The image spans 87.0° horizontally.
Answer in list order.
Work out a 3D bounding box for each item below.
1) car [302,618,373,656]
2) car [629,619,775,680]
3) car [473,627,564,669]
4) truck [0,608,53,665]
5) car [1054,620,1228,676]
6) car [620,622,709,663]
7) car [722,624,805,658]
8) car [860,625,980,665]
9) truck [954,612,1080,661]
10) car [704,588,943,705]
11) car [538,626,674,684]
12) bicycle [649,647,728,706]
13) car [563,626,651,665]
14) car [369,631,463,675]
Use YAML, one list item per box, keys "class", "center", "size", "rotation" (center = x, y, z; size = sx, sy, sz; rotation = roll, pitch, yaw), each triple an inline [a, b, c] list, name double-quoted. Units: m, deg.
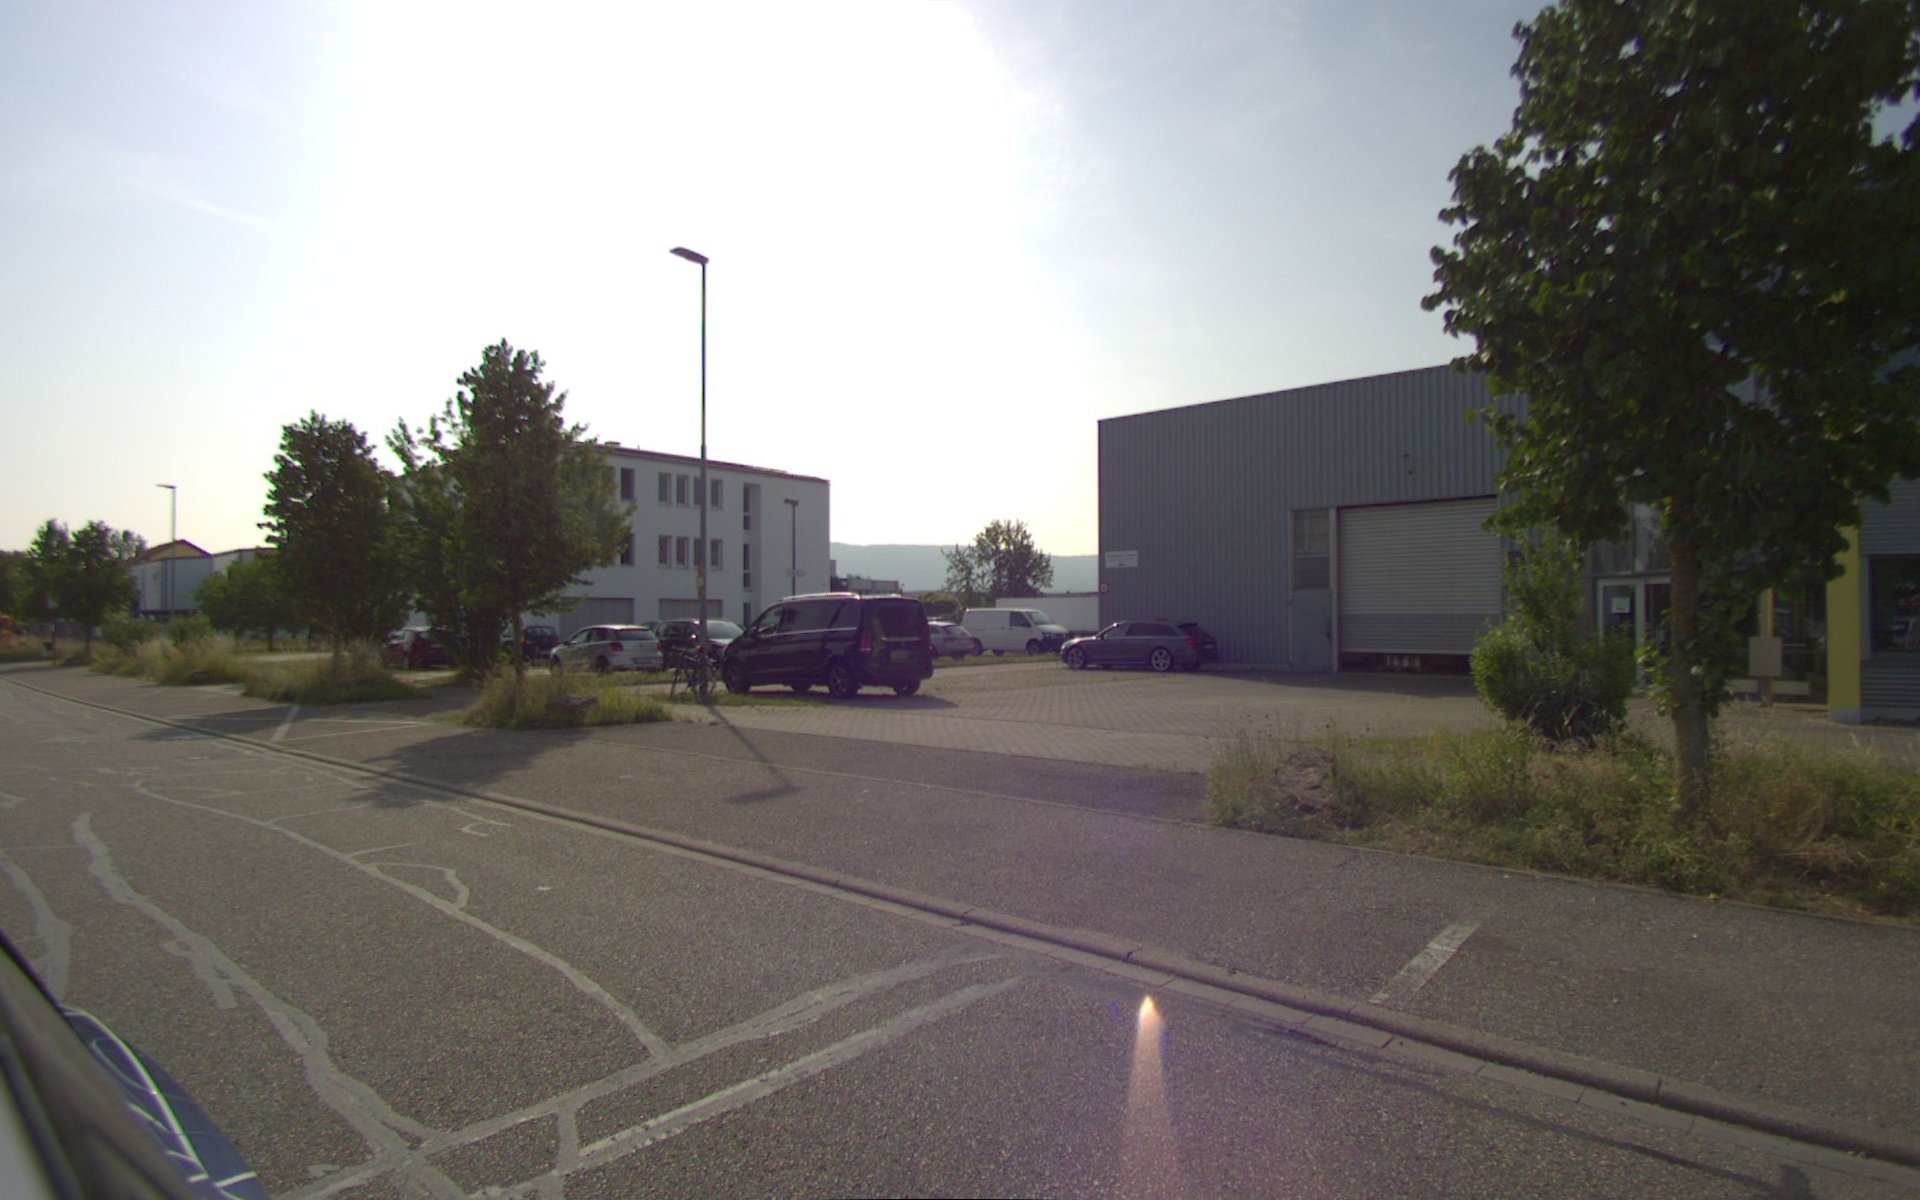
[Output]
- class: "car"
  center: [-32.288, 1.885, 52.452]
  size: [4.695, 1.852, 1.971]
  rotation: [-2, -2, 43]
- class: "car"
  center: [-7.578, 1.397, 29.457]
  size: [4.507, 1.619, 1.922]
  rotation: [-2, -2, 41]
- class: "car"
  center: [-16.660, 1.763, 38.155]
  size: [3.918, 1.479, 1.735]
  rotation: [-2, -2, 43]
- class: "truck"
  center: [-50.348, 1.885, 52.285]
  size: [2.471, 2.855, 8.872]
  rotation: [2, -3, -24]
- class: "car"
  center: [5.165, 1.362, 29.338]
  size: [4.780, 1.472, 1.697]
  rotation: [-2, -2, 42]
- class: "car"
  center: [-12.455, 1.756, 42.564]
  size: [3.918, 1.631, 1.885]
  rotation: [-2, -2, 43]
- class: "car"
  center: [-8.961, 1.829, 45.983]
  size: [3.918, 1.479, 1.735]
  rotation: [-2, -2, 43]
- class: "car"
  center: [-1.511, 1.621, 37.268]
  size: [4.377, 1.383, 1.715]
  rotation: [-2, -2, 38]
- class: "truck"
  center: [2.288, 1.469, 41.440]
  size: [4.947, 1.918, 1.974]
  rotation: [-2, -2, 39]
- class: "car"
  center: [-2.800, 0.889, 19.889]
  size: [4.989, 2.029, 1.862]
  rotation: [-2, -3, 41]
- class: "car"
  center: [-9.700, 1.446, 27.592]
  size: [3.915, 1.460, 1.767]
  rotation: [-2, -2, 40]
- class: "bicycle"
  center: [-4.923, 1.356, 18.258]
  size: [0.534, 0.986, 1.871]
  rotation: [1, -2, -44]
- class: "car"
  center: [-14.253, 1.809, 40.733]
  size: [3.918, 1.479, 1.735]
  rotation: [-2, -2, 43]
- class: "car"
  center: [-19.112, 1.824, 35.521]
  size: [3.918, 1.420, 1.735]
  rotation: [-2, -2, 43]
